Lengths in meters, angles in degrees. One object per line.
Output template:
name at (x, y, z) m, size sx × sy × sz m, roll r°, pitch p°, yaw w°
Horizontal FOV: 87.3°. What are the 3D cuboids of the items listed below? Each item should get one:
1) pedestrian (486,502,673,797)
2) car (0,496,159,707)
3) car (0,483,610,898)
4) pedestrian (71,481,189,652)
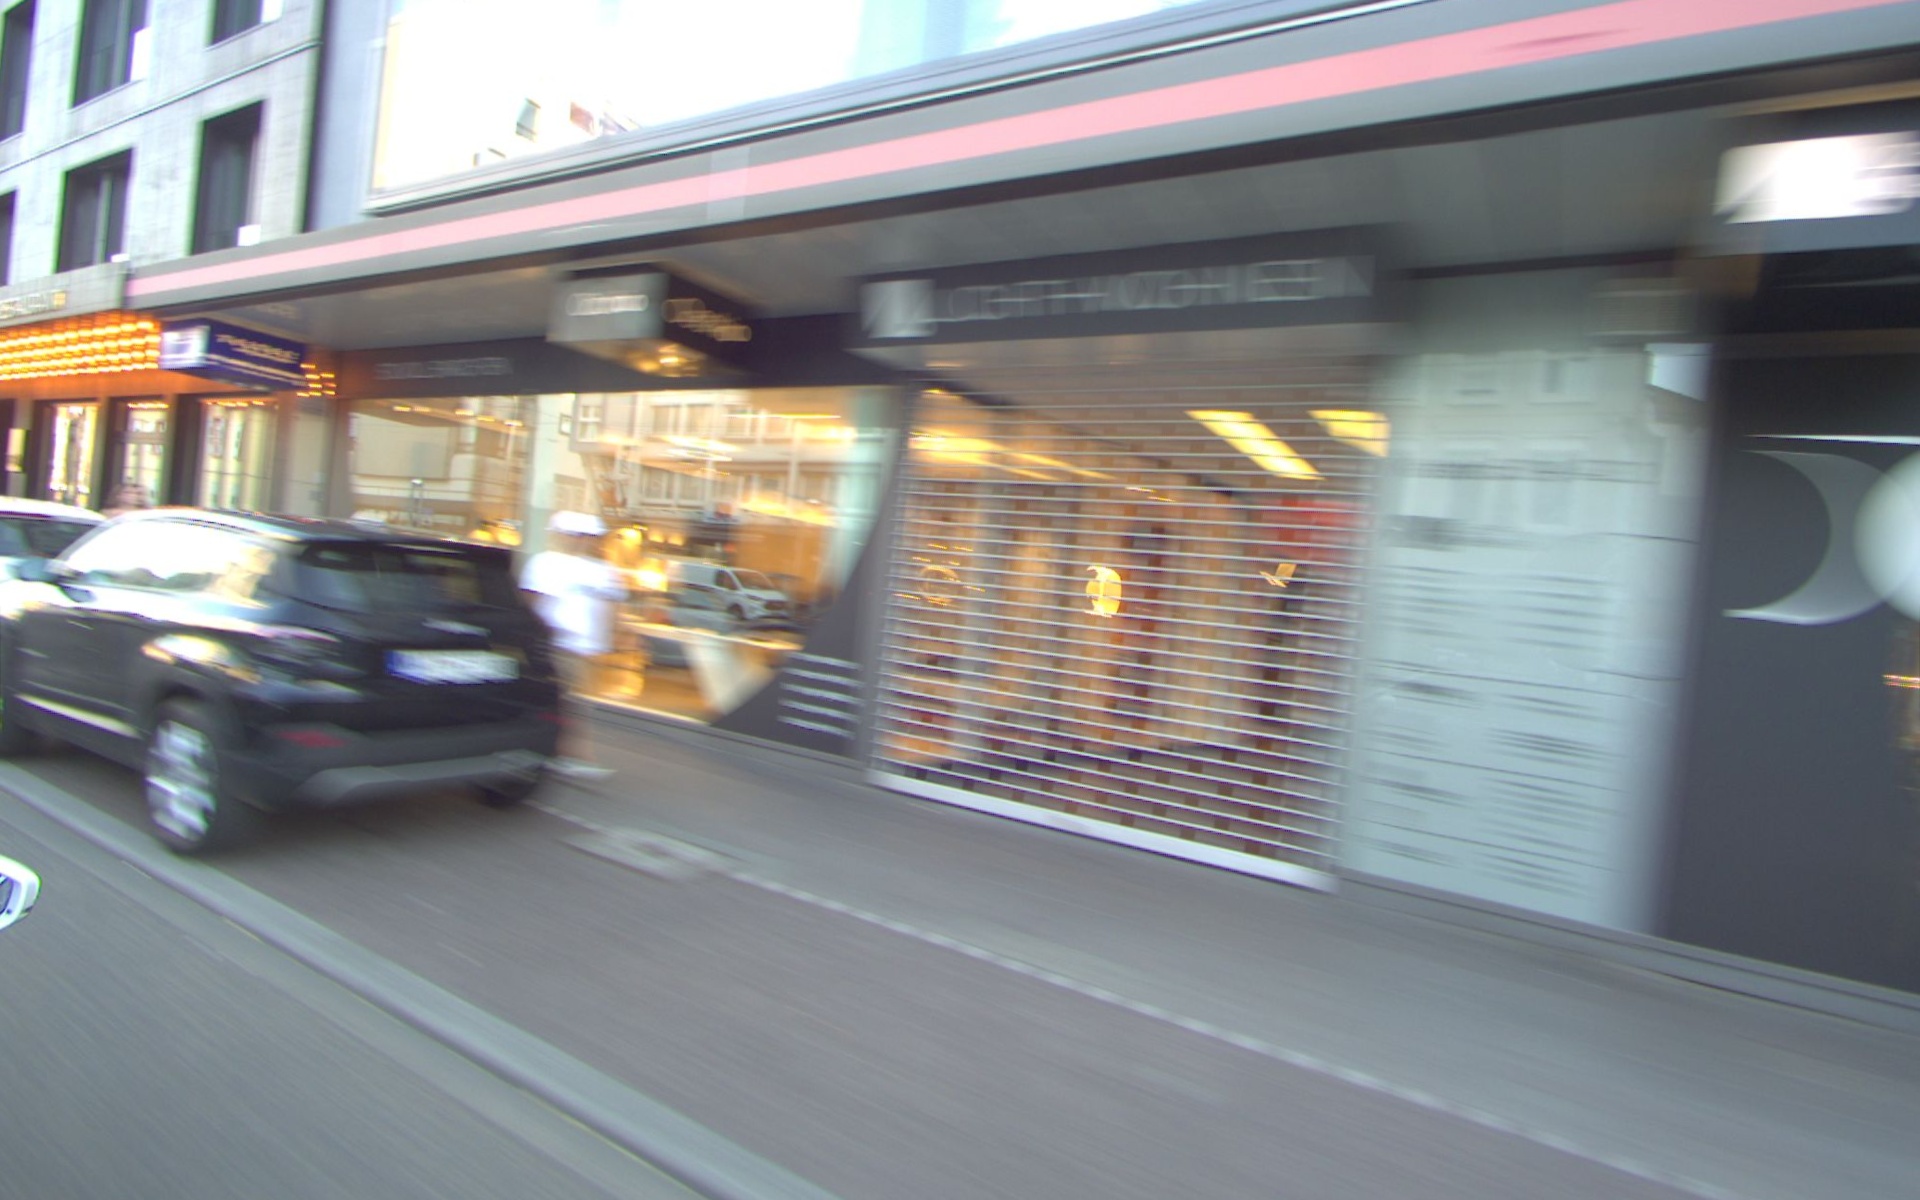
pedestrian at (-2.489, 0.298, 6.591) m, size 0.807 × 1.763 × 0.688 m, roll 7°, pitch 2°, yaw 33°
car at (-8.195, -0.133, 8.162) m, size 3.649 × 1.461 × 1.559 m, roll 6°, pitch 2°, yaw 33°
car at (-3.985, 0.274, 5.687) m, size 3.821 × 1.557 × 1.656 m, roll 6°, pitch 1°, yaw 31°
pedestrian at (-8.543, -0.335, 10.364) m, size 0.746 × 1.668 × 0.558 m, roll 6°, pitch 1°, yaw 24°
